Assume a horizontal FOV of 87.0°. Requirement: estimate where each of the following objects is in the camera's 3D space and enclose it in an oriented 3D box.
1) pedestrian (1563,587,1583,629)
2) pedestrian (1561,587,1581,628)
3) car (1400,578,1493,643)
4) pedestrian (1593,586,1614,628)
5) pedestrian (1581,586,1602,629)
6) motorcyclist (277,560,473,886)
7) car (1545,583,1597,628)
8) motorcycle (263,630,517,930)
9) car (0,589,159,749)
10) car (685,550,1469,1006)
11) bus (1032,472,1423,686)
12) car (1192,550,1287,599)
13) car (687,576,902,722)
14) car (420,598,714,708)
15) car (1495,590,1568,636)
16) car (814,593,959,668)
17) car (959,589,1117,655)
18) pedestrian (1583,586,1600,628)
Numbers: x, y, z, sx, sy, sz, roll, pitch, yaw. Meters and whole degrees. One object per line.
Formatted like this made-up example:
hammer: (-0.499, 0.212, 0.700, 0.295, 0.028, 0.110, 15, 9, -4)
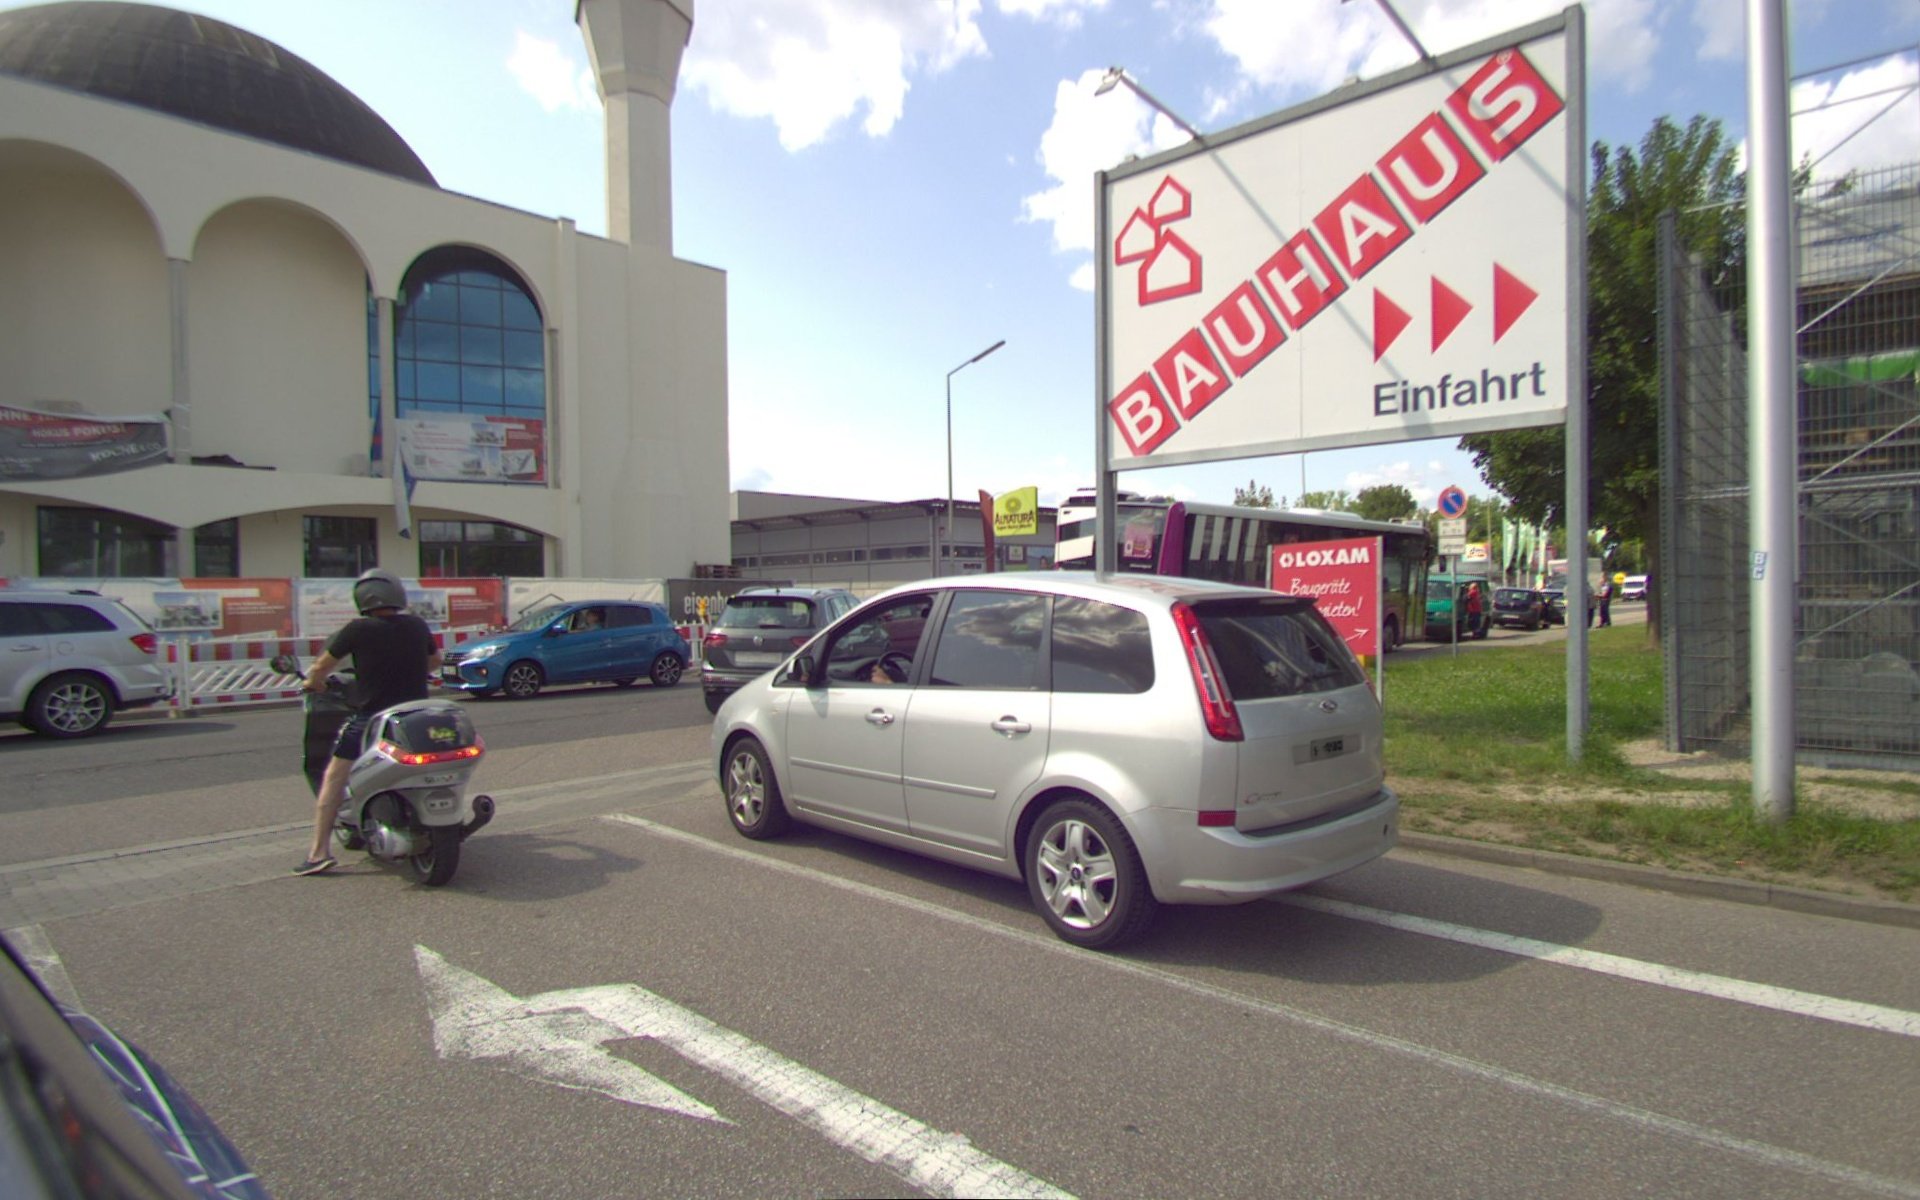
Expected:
pedestrian: (21.133, 0.272, 34.913, 0.370, 1.440, 0.391, 1, 2, -19)
pedestrian: (21.436, 0.264, 35.525, 0.370, 1.440, 0.391, 1, 2, -19)
car: (14.537, 0.323, 30.182, 1.448, 1.819, 3.588, -3, -2, 43)
pedestrian: (22.179, 0.237, 34.872, 0.370, 1.440, 0.391, 1, 2, -19)
pedestrian: (21.569, 0.247, 34.574, 0.370, 1.440, 0.391, 1, 2, -19)
motorcyclist: (-3.245, 0.620, 5.617, 0.777, 1.641, 0.687, -1, 0, -45)
car: (25.131, 0.209, 41.596, 1.346, 1.769, 2.842, 3, 2, 40)
motorcycle: (-3.226, 0.845, 5.602, 0.662, 1.316, 2.214, -1, 0, -44)
car: (-11.612, 0.767, 10.604, 1.866, 1.712, 4.776, -3, -2, 39)
car: (0.284, 0.632, 5.624, 1.697, 1.576, 4.213, -1, 0, -44)
bus: (6.228, -0.380, 21.254, 2.893, 3.390, 11.405, -1, 0, 43)
car: (8.796, -0.799, 31.795, 1.692, 1.426, 2.908, 4, 3, 42)
car: (-2.124, 0.648, 14.301, 1.749, 1.678, 4.375, -3, -2, 8)
car: (-6.241, 0.759, 16.434, 1.697, 1.525, 4.137, -1, 0, 42)
car: (20.659, 0.476, 36.556, 1.559, 1.561, 3.156, -3, -2, 43)
car: (-1.535, 0.628, 21.780, 1.367, 1.499, 2.997, -1, -1, 43)
car: (2.040, 0.512, 25.589, 1.792, 1.521, 4.134, -1, 0, 43)
pedestrian: (22.185, 0.247, 35.550, 0.388, 1.440, 0.373, 2, 2, 26)
